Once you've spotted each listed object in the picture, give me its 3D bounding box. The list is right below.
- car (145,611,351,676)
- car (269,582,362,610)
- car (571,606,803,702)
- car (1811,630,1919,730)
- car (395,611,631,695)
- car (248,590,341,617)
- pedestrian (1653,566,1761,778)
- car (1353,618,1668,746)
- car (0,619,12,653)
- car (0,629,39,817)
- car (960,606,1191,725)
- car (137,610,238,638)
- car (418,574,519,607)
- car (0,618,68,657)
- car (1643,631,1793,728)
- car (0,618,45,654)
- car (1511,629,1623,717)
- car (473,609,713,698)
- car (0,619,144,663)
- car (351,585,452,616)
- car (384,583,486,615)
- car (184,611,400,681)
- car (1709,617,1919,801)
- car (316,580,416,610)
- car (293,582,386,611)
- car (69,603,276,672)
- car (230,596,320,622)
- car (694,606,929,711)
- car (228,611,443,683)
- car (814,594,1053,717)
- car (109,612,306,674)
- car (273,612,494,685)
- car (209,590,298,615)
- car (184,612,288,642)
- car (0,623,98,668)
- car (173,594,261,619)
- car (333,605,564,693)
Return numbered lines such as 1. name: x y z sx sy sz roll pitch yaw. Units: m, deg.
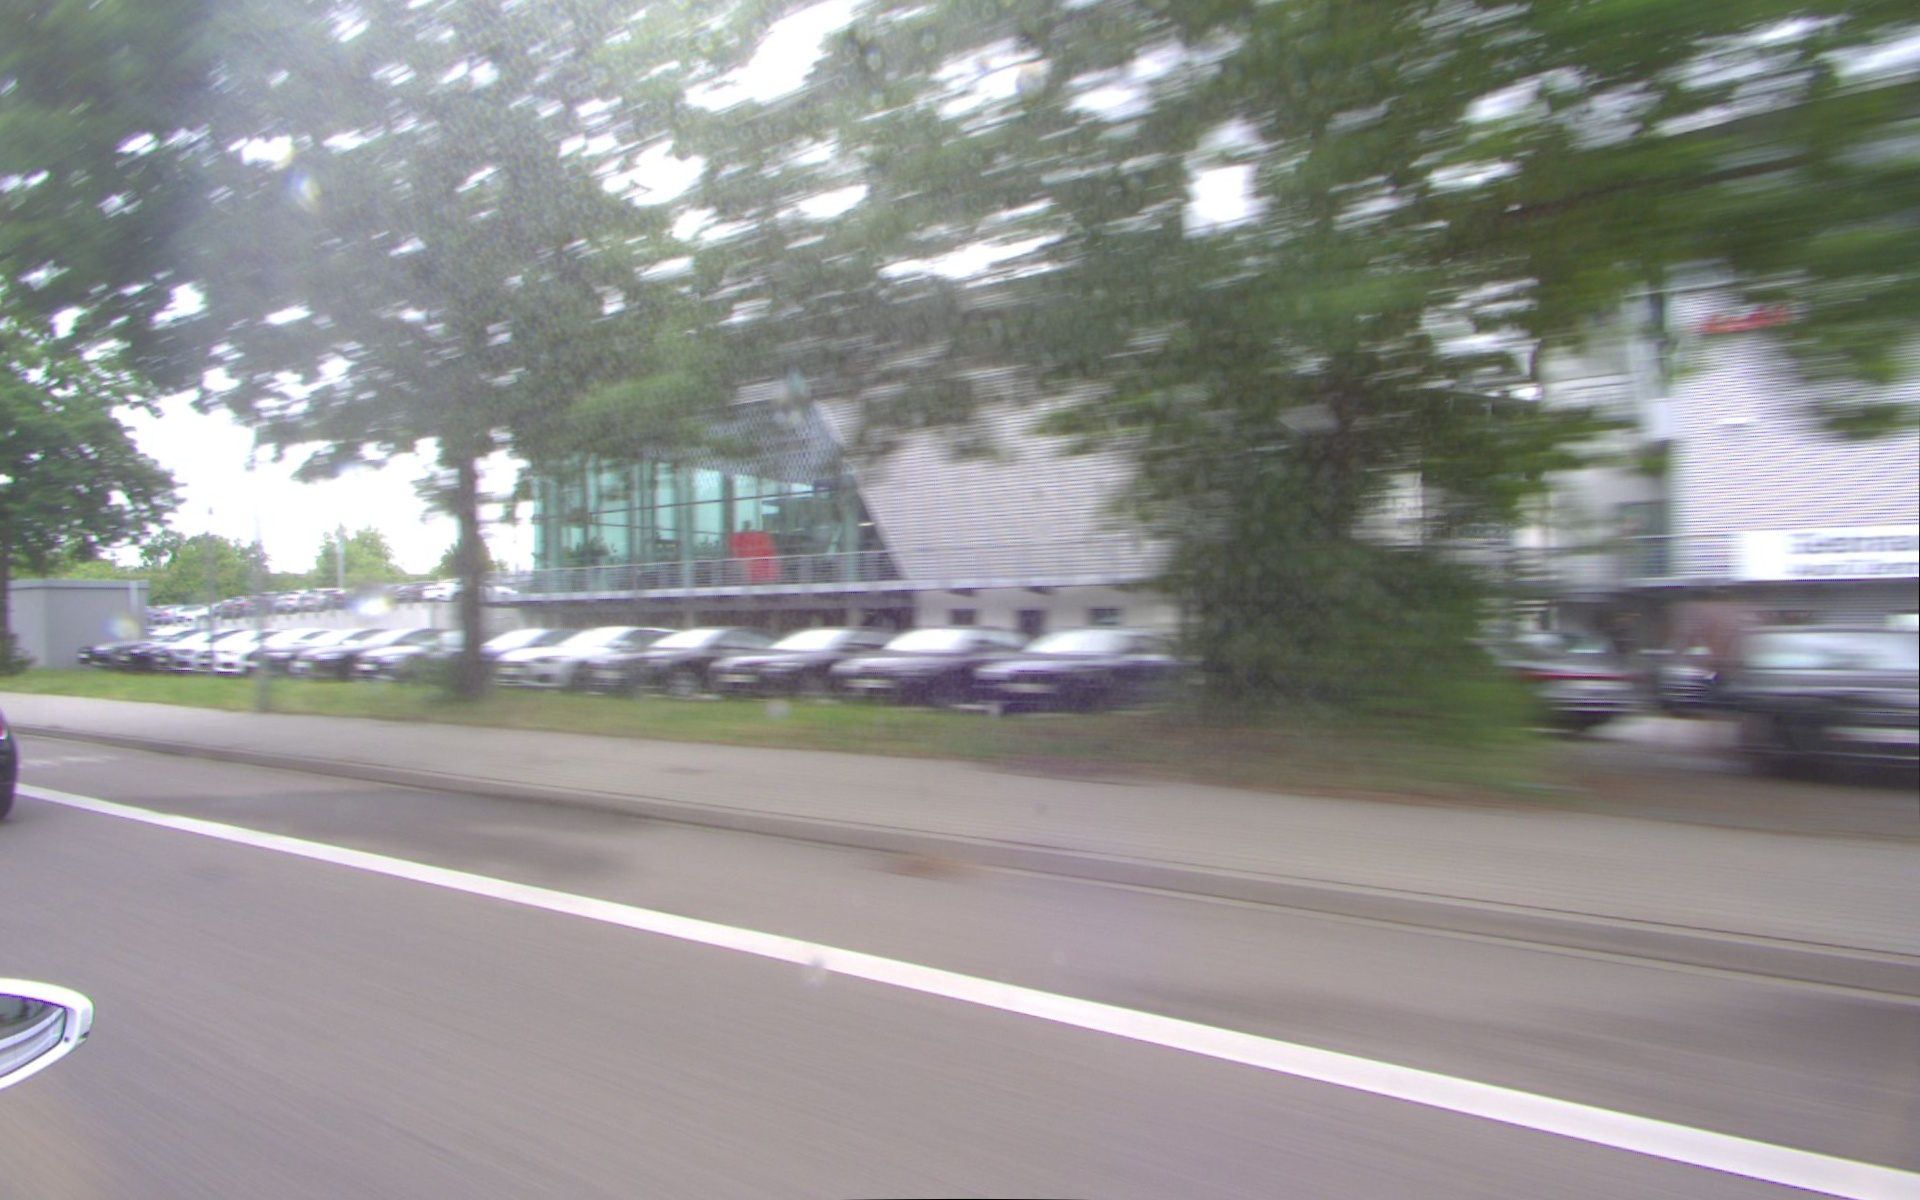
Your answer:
1. car: -20.149 1.281 28.538 2.000 1.522 4.292 0 -6 32
2. car: -36.584 -0.185 56.932 1.704 1.454 4.081 2 0 30
3. car: -5.005 1.079 18.924 1.791 1.503 4.064 2 -5 31
4. car: 16.586 1.340 17.579 1.789 1.564 4.097 2 0 31
5. car: -9.424 1.193 21.449 1.948 1.503 4.180 1 -4 32
6. car: -38.450 0.201 57.968 1.917 1.454 4.081 1 0 30
7. pedestrian: 7.038 0.663 9.442 0.667 1.895 0.712 2 -2 -44
8. car: 7.746 1.076 14.648 1.735 1.518 4.273 2 0 -9
9. car: -43.211 1.525 42.453 1.794 1.454 4.081 2 0 30
10. car: -9.214 0.991 7.981 3.589 1.434 1.784 -2 -2 30
11. car: 1.870 1.043 14.858 1.843 1.410 4.125 2 -6 31
12. car: -42.510 1.308 55.186 1.704 1.454 4.081 2 0 30
13. car: -24.892 -0.456 50.846 1.853 1.516 4.331 2 0 30
14. car: -38.888 1.478 40.109 1.901 1.522 4.341 0 -4 30
15. car: 14.459 1.430 19.318 1.789 1.564 4.097 2 0 31
16. car: -40.891 1.484 41.305 1.816 1.508 4.338 0 -2 30
17. car: 12.221 1.379 20.263 1.715 1.505 4.333 2 0 31
18. car: -7.239 1.132 20.190 1.930 1.503 4.196 2 -4 31
19. car: -32.418 1.502 36.040 1.972 1.409 4.289 -1 -5 32
20. car: -29.684 0.067 53.387 1.940 1.516 4.331 1 0 30
21. car: -27.274 -0.048 52.158 2.038 1.516 4.331 1 0 30
22. car: -17.995 1.294 27.196 1.971 1.538 4.392 2 -5 32
23. car: 8.652 0.954 9.651 1.828 1.438 4.200 0 -3 31
24. car: -32.117 -0.255 54.272 1.853 1.516 4.331 2 0 30
25. car: -34.378 -0.180 55.554 1.704 1.516 4.081 2 0 30
26. car: -24.345 1.205 31.144 1.971 1.722 4.548 2 -5 32
27. car: -40.670 0.572 59.524 1.704 1.454 4.081 2 0 30
28. car: -2.464 1.103 17.726 1.798 1.503 4.209 2 -6 31
29. car: -15.891 1.253 25.706 1.971 1.486 4.174 2 -5 32
30. car: -0.259 0.974 16.263 1.848 1.621 4.239 2 -6 31
31. car: -22.208 1.322 29.725 1.931 1.463 4.174 2 -5 32
32. car: -13.795 1.220 24.200 1.905 1.473 4.173 1 -4 32
33. car: -42.958 0.171 60.938 1.704 1.454 4.081 2 0 30
34. car: -37.820 1.416 52.375 1.704 1.454 4.081 2 0 30
35. car: -36.533 1.743 38.730 1.970 1.592 4.438 0 0 31
36. car: -47.230 0.438 63.738 1.704 1.454 4.194 2 0 30
37. car: -11.480 1.165 22.749 1.971 1.682 4.173 1 -4 32
